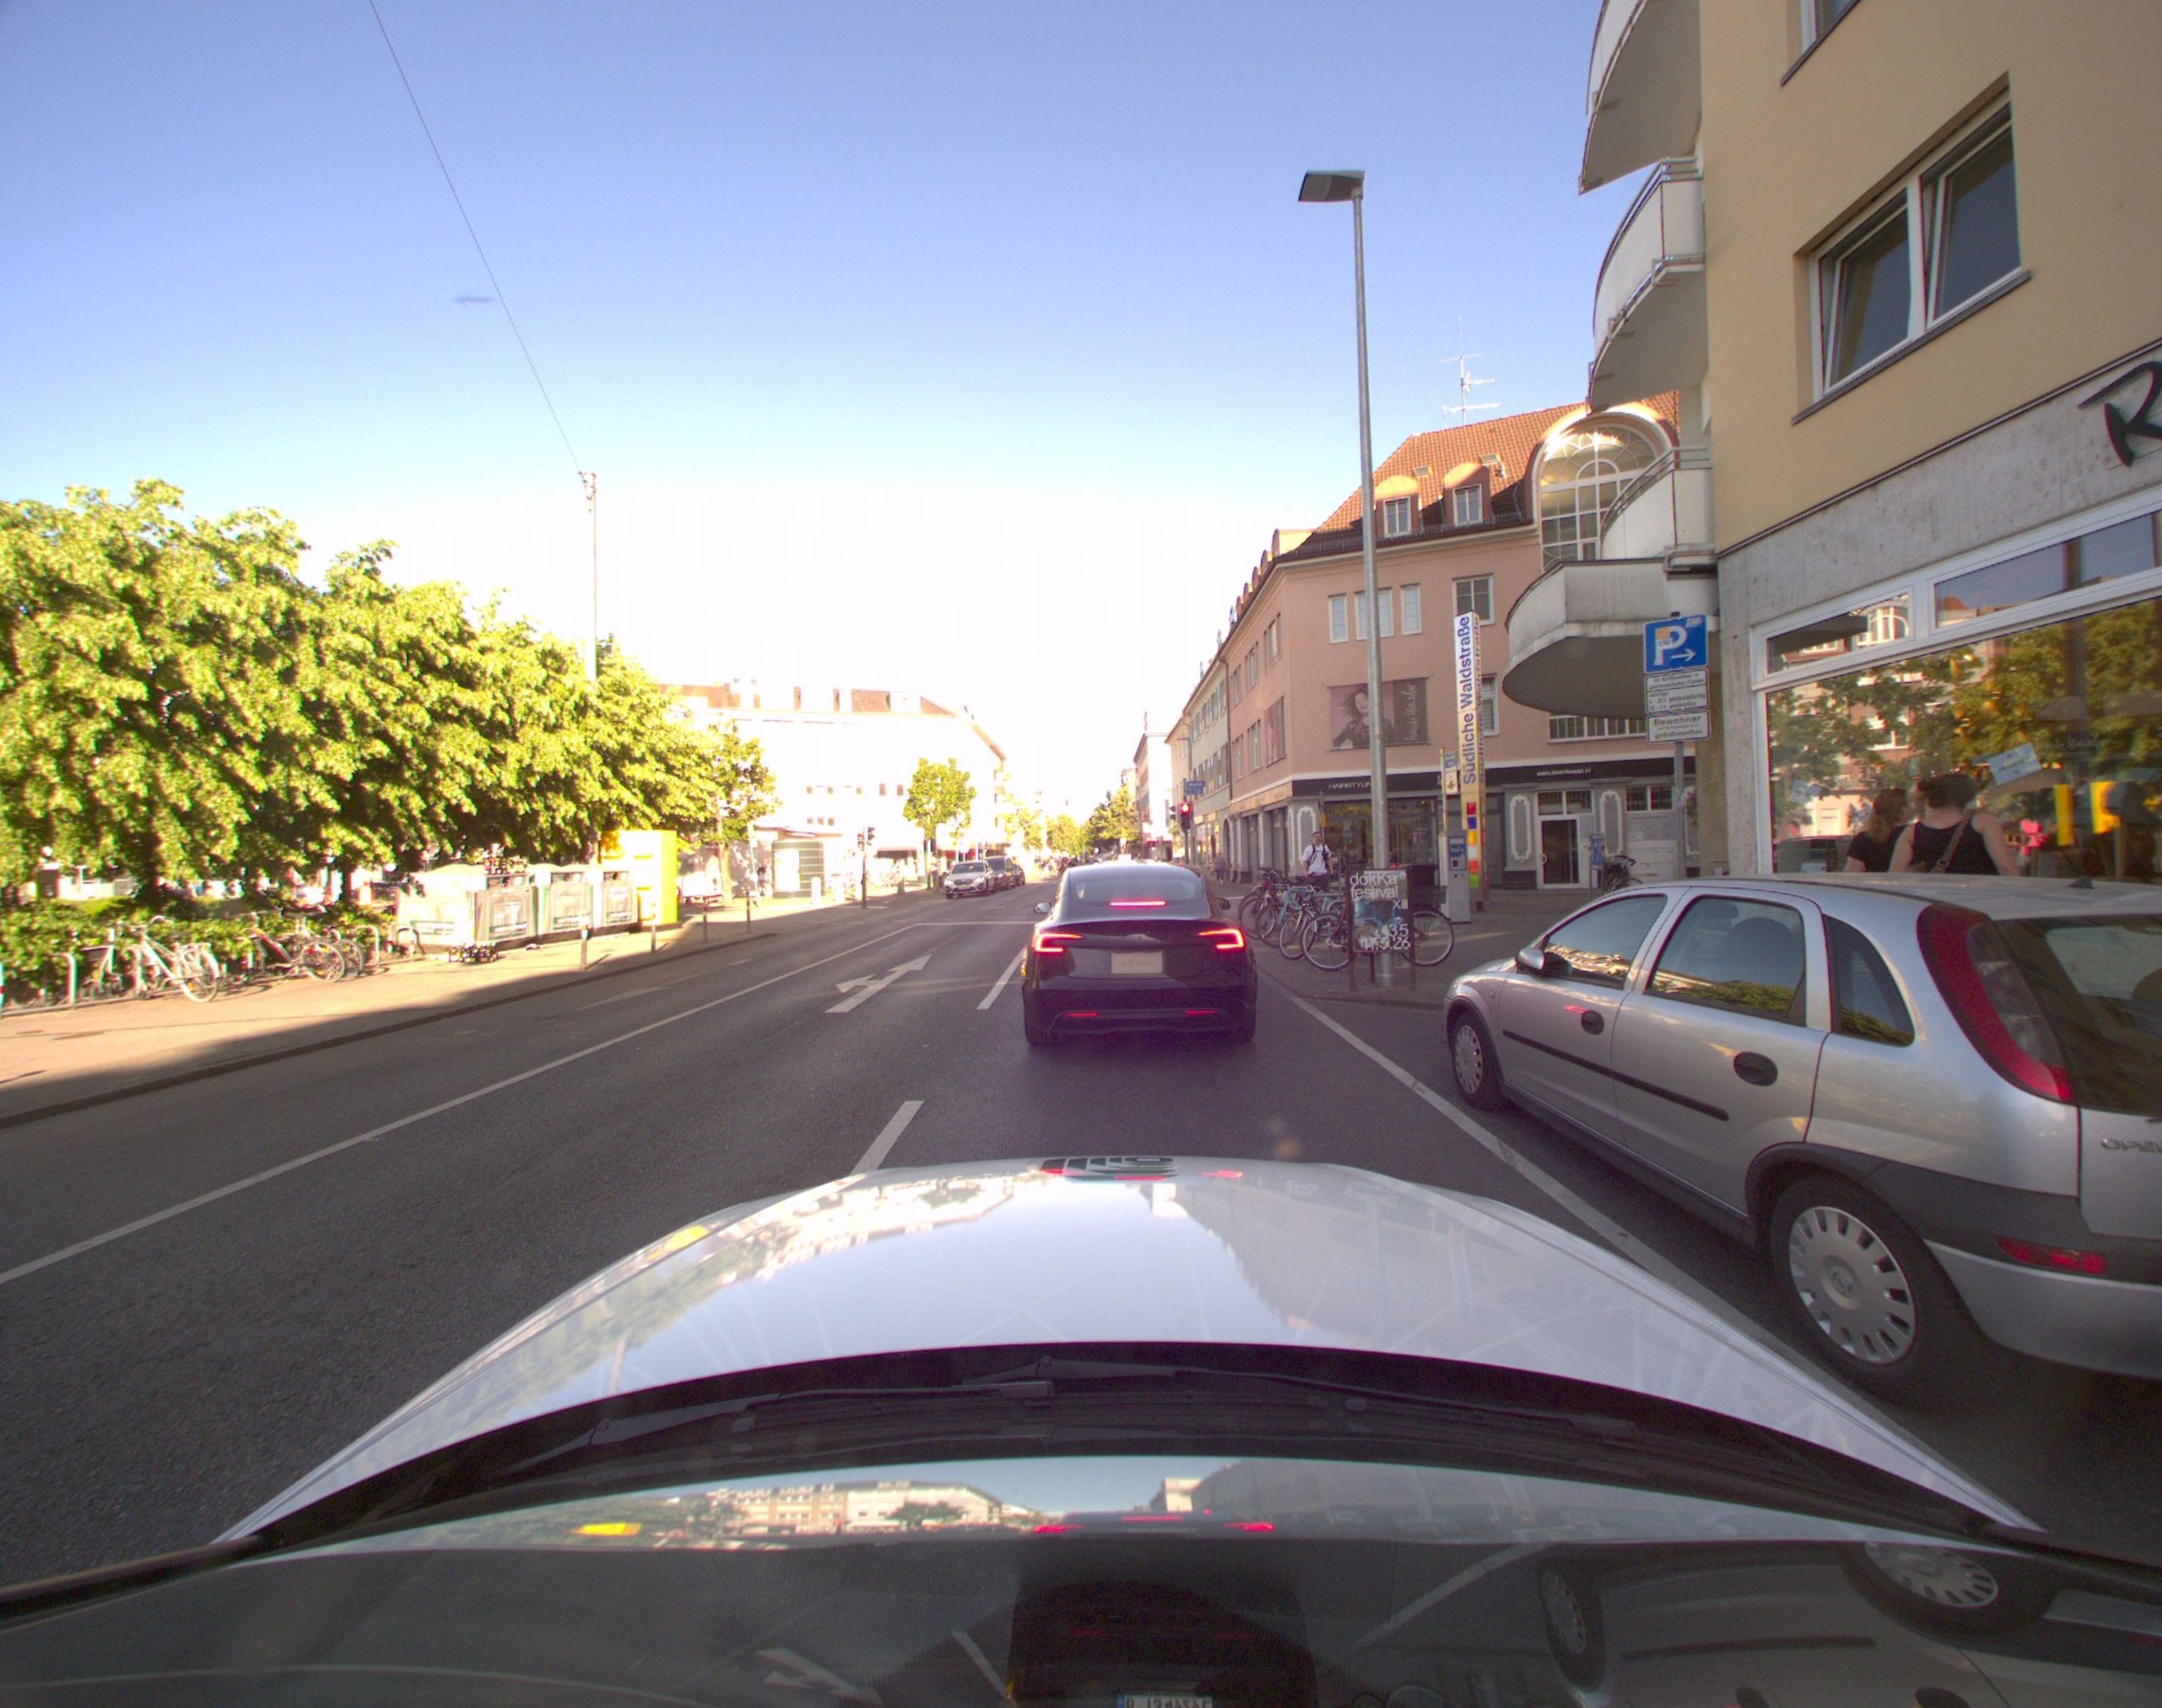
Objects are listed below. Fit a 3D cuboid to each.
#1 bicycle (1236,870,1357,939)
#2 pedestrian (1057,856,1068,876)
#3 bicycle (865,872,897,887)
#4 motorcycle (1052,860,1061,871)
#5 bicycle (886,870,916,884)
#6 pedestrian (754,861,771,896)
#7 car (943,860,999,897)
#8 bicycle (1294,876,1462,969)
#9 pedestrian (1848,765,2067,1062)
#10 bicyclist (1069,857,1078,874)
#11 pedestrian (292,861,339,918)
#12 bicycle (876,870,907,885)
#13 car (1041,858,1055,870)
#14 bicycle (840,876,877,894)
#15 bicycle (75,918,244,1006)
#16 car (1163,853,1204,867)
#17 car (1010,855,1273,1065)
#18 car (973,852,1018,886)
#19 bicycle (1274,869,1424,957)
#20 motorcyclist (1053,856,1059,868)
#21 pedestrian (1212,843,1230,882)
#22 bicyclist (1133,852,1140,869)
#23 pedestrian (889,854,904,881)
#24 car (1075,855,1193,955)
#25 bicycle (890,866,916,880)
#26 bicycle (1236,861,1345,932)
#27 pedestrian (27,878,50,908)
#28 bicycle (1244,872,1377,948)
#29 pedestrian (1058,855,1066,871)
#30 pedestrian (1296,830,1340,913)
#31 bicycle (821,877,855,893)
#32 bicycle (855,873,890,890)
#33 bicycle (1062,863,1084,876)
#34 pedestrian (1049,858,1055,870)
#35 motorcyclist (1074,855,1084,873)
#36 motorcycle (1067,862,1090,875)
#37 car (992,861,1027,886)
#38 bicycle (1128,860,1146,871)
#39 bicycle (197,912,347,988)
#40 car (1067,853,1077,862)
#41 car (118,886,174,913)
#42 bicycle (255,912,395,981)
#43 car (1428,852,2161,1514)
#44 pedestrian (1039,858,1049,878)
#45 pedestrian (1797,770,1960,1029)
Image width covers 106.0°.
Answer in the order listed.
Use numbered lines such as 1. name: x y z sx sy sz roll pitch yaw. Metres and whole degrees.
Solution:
1. bicycle: 3.584 0.840 13.671 1.863 1.038 0.548 -3 -1 7
2. pedestrian: -1.513 0.971 66.463 0.756 1.631 0.951 0 -1 -16
3. bicycle: -12.316 1.575 50.185 1.857 0.934 0.606 0 -1 0
4. motorcycle: -2.538 1.170 84.320 0.985 1.086 0.352 0 -1 -35
5. bicycle: -12.187 1.542 55.125 1.857 0.934 0.606 -1 0 0
6. pedestrian: -15.675 1.186 40.139 0.472 1.716 0.713 -1 -1 10
7. car: -4.861 1.045 36.433 1.782 1.460 3.759 -4 -1 2
8. bicycle: 3.615 0.837 10.002 1.862 1.038 0.354 -3 -1 8
9. pedestrian: 5.312 0.329 4.965 0.646 1.665 0.656 -1 0 -15
10. bicyclist: -0.653 0.944 68.397 0.670 1.395 0.460 0 -1 -14
11. pedestrian: -27.975 1.290 29.786 0.890 2.013 0.893 -1 0 15
12. bicycle: -12.267 1.523 52.677 1.857 0.934 0.606 -1 0 0
13. car: -4.371 1.350 108.402 1.703 1.552 3.692 -1 0 -4
14. bicycle: -12.465 1.737 45.646 1.857 0.934 0.606 0 -1 0
15. bicycle: -11.620 1.340 10.276 1.919 1.015 0.518 -1 -1 11
16. car: 11.170 0.676 88.637 3.999 1.354 1.897 -1 0 -19
17. car: 0.488 0.761 7.717 1.816 1.442 4.001 -1 -1 2
18. car: -4.432 0.741 42.820 1.780 1.646 4.404 -1 0 2
19. bicycle: 3.654 0.806 11.193 1.864 1.087 0.415 -3 -1 5
20. motorcyclist: -2.558 0.786 84.309 0.493 1.253 0.351 0 -1 -36
21. pedestrian: 6.390 0.386 37.170 0.703 1.742 0.540 -1 0 2
22. bicyclist: 5.000 0.586 73.479 0.525 1.503 0.473 0 -1 -22
23. pedestrian: -14.129 1.043 62.411 1.060 2.014 1.049 0 -1 -18
24. car: 0.797 0.748 13.897 1.712 1.425 3.757 -1 0 0
25. bicycle: -17.159 1.815 78.490 2.373 1.296 0.509 0 -1 -25
26. bicycle: 3.780 0.759 14.788 1.818 1.169 0.507 -3 -1 7
27. pedestrian: -77.817 2.884 60.780 0.891 2.171 0.882 -1 -1 26
28. bicycle: 3.497 0.851 12.510 1.864 1.038 0.534 -3 -1 5
29. pedestrian: -2.124 0.976 91.952 0.676 1.789 0.705 0 -1 -34
30. pedestrian: 5.128 0.375 17.658 0.747 1.765 0.838 0 -1 6
31. bicycle: -12.838 1.631 43.078 1.640 0.792 0.606 0 -1 -3
32. bicycle: -12.192 1.613 47.706 1.857 0.934 0.606 0 -1 0
33. bicycle: -0.640 1.294 68.400 1.787 1.007 0.469 0 -1 -15
34. pedestrian: -3.325 1.132 92.040 0.524 1.422 0.475 0 -1 -28
35. motorcyclist: -0.195 0.853 70.089 0.721 1.528 0.513 -1 0 -19
36. motorcycle: -0.198 1.230 70.093 1.932 1.110 0.515 -1 0 -19
37. car: -4.360 1.167 50.172 1.709 1.446 3.846 0 -1 2
38. bicycle: 5.046 1.017 73.490 1.562 1.012 0.480 0 -1 -22
39. bicycle: -11.533 1.350 11.622 1.913 1.003 0.518 -1 -1 11
40. car: -2.068 0.876 187.454 1.986 2.014 4.001 0 -1 2
41. car: -51.346 2.468 44.726 3.526 1.386 1.703 -1 0 36
42. bicycle: -11.318 1.371 12.200 1.888 0.955 0.518 -1 -1 11
43. car: 2.948 0.727 3.517 1.540 1.390 3.479 -1 1 3
44. pedestrian: -2.936 1.100 64.447 0.623 1.538 0.511 0 -1 -17
45. pedestrian: 5.877 0.313 6.048 0.733 1.784 0.571 -1 0 34
